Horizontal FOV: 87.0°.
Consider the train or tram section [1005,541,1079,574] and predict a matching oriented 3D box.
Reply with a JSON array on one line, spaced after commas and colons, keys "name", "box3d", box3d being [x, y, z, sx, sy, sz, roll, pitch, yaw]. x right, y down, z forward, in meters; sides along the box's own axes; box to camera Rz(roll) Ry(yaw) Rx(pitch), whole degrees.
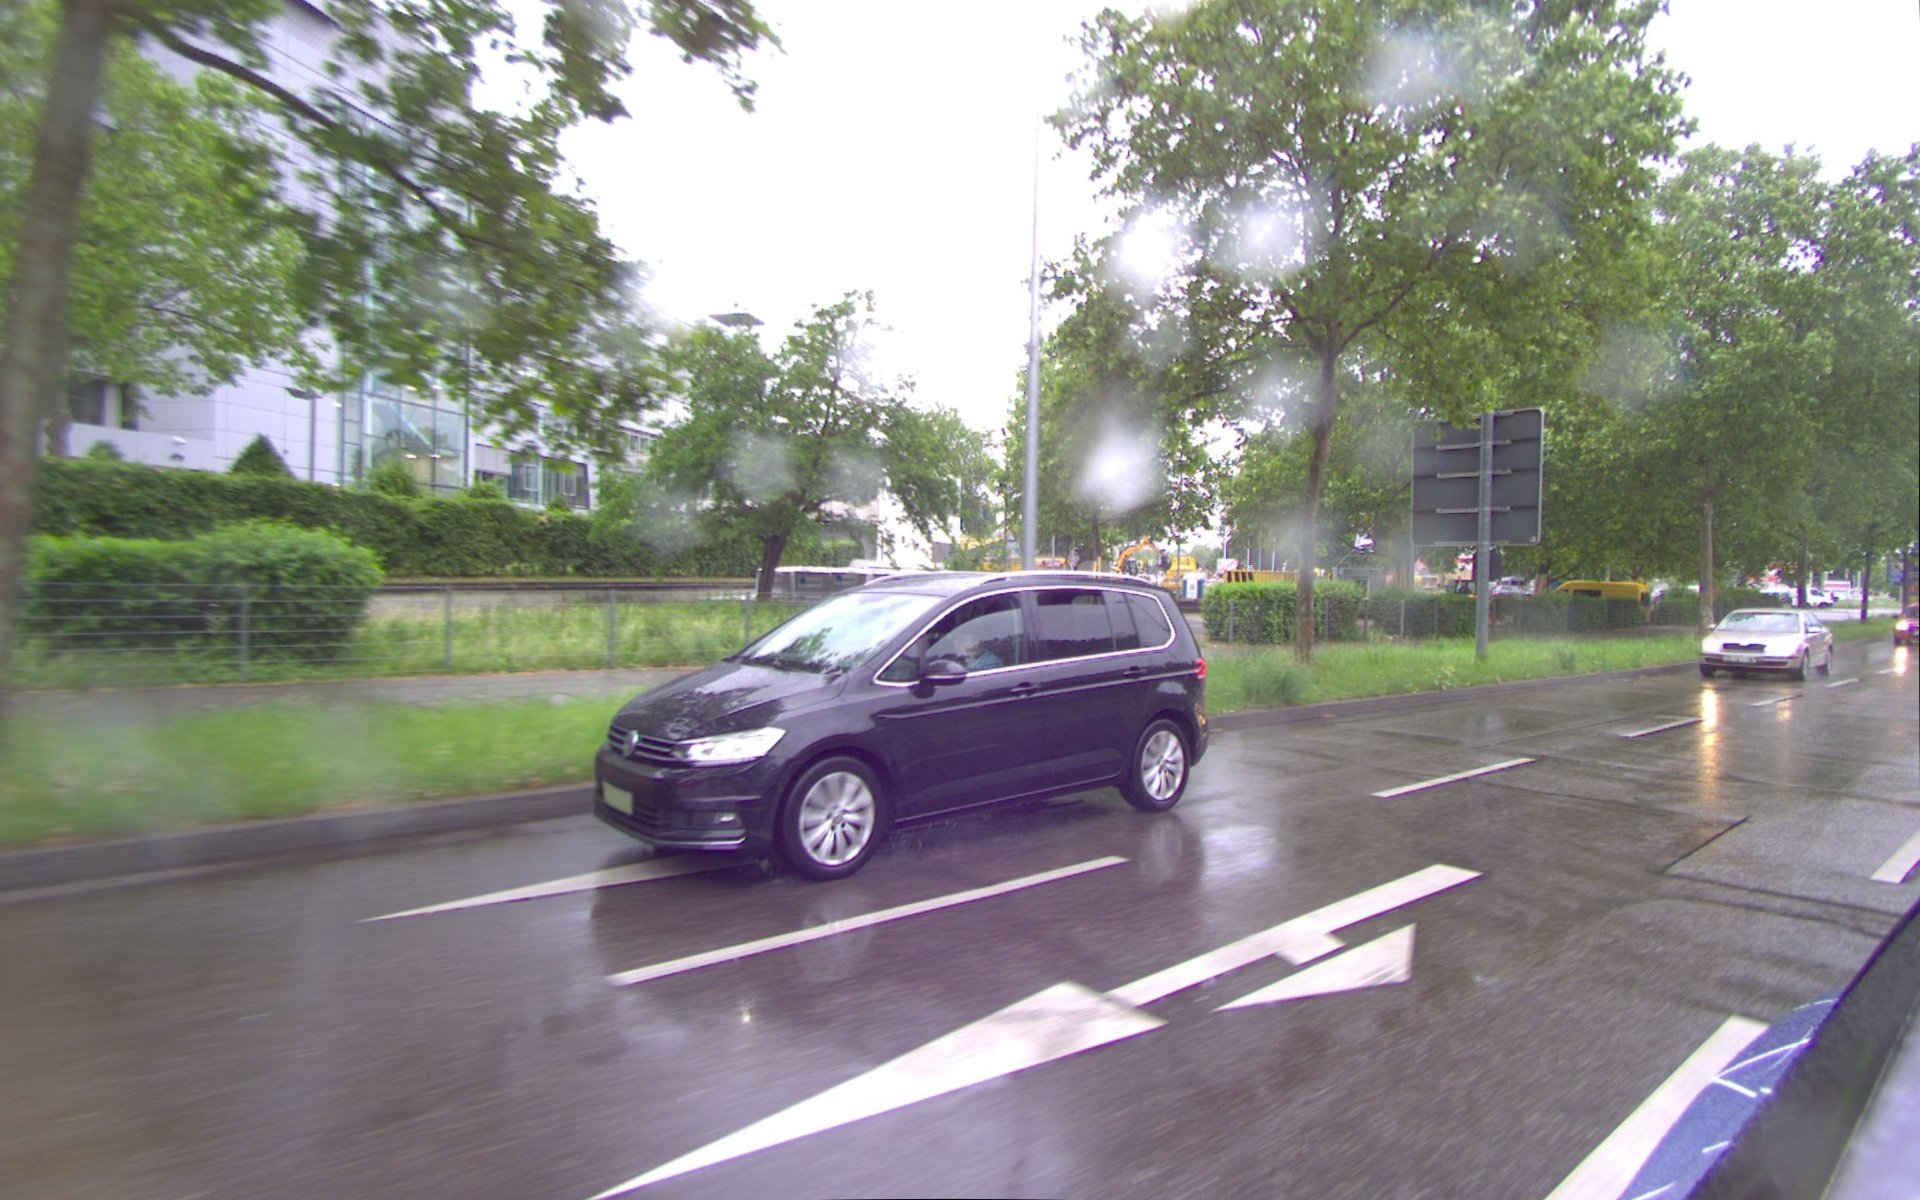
[{"name": "train or tram section", "box3d": [9.417, -4.855, 115.851, 8.241, 3.563, 2.393, 0, 1, 12]}]

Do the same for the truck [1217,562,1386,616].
[{"name": "truck", "box3d": [20.236, -0.654, 60.664, 9.363, 3.069, 3.069, 0, 1, 15]}]

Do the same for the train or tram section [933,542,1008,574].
[{"name": "train or tram section", "box3d": [1.268, -4.829, 117.633, 8.398, 3.563, 2.393, 0, 1, 12]}]

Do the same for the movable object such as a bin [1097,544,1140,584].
[{"name": "movable object such as a bin", "box3d": [15.046, -3.407, 96.356, 3.253, 3.670, 3.618, 1, 2, -5]}]

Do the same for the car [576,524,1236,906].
[{"name": "car", "box3d": [-0.144, 0.495, 6.693, 4.118, 1.748, 1.859, -1, 1, -41]}]

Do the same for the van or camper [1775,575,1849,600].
[{"name": "van or camper", "box3d": [79.070, -1.190, 93.965, 4.832, 2.114, 1.862, 2, 2, 12]}]

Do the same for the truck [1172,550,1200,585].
[{"name": "truck", "box3d": [23.114, -3.320, 103.256, 2.460, 3.386, 9.431, 0, 2, 14]}]

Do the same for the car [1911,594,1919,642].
[{"name": "car", "box3d": [37.850, 0.690, 38.646, 4.476, 1.791, 1.699, 0, 2, -40]}]

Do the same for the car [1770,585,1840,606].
[{"name": "car", "box3d": [76.129, -0.411, 91.273, 4.392, 1.693, 1.862, 2, 2, 12]}]

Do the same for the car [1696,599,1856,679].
[{"name": "car", "box3d": [17.244, 0.738, 21.323, 4.309, 1.448, 1.806, 0, 2, -40]}]

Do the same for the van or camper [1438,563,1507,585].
[{"name": "van or camper", "box3d": [77.485, -3.911, 153.112, 8.849, 3.196, 2.975, 0, 1, 15]}]

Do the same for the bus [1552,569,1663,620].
[{"name": "bus", "box3d": [35.659, -0.353, 55.846, 1.964, 2.680, 4.804, 0, 1, -38]}]
